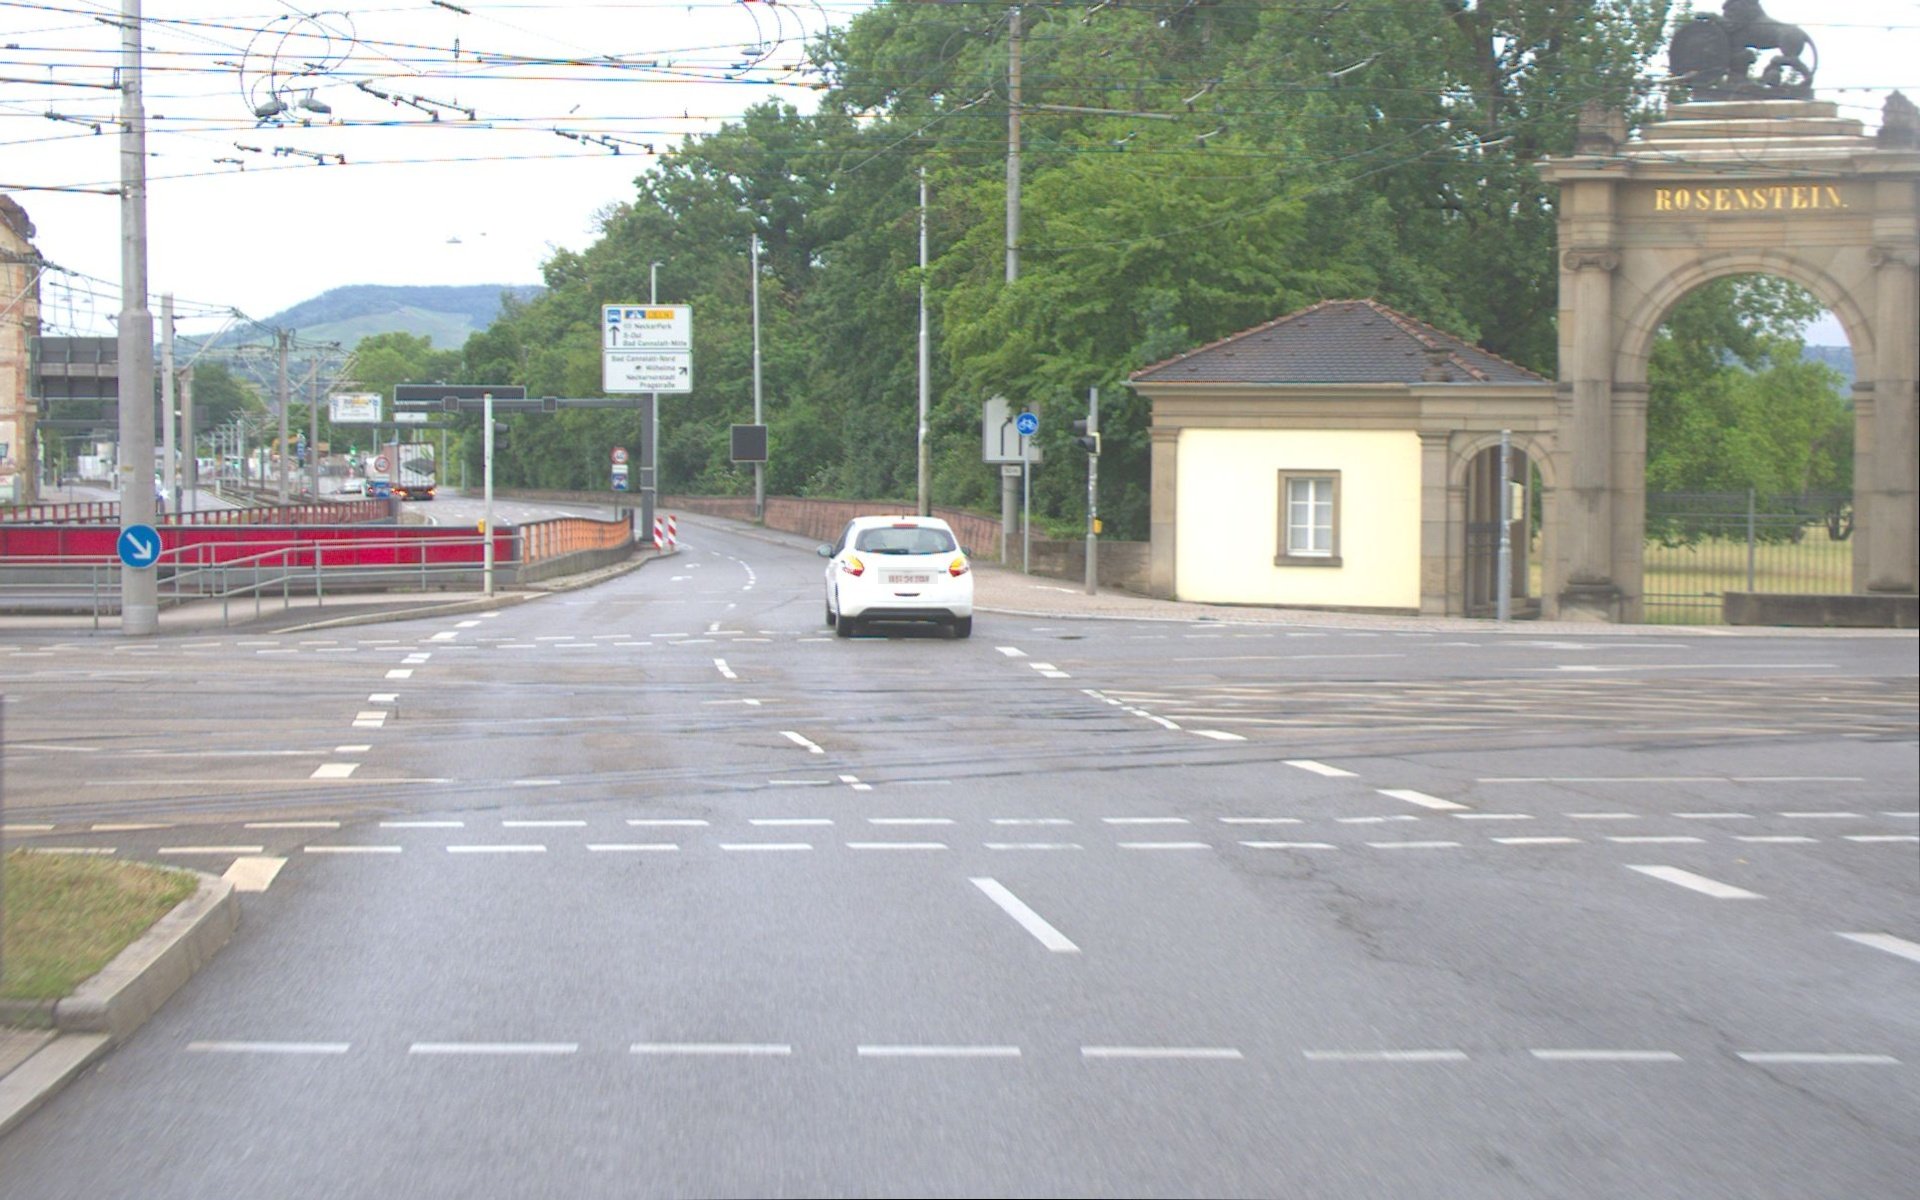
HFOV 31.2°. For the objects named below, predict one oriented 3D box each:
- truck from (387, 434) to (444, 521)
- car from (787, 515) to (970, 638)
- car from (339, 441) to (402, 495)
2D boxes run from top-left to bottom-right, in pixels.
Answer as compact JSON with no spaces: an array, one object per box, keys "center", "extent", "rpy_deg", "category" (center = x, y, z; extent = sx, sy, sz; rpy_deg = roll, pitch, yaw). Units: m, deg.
[{"center":[-38.066,-8.465,239.927],"extent":[3.464,5.382,12.054],"rpy_deg":[0,-1,-11],"category":"truck"},{"center":[-1.083,-0.261,43.662],"extent":[1.955,1.483,4.001],"rpy_deg":[0,-1,-7],"category":"car"},{"center":[-21.468,-4.783,125.127],"extent":[1.993,1.866,4.001],"rpy_deg":[-2,2,-13],"category":"car"}]
